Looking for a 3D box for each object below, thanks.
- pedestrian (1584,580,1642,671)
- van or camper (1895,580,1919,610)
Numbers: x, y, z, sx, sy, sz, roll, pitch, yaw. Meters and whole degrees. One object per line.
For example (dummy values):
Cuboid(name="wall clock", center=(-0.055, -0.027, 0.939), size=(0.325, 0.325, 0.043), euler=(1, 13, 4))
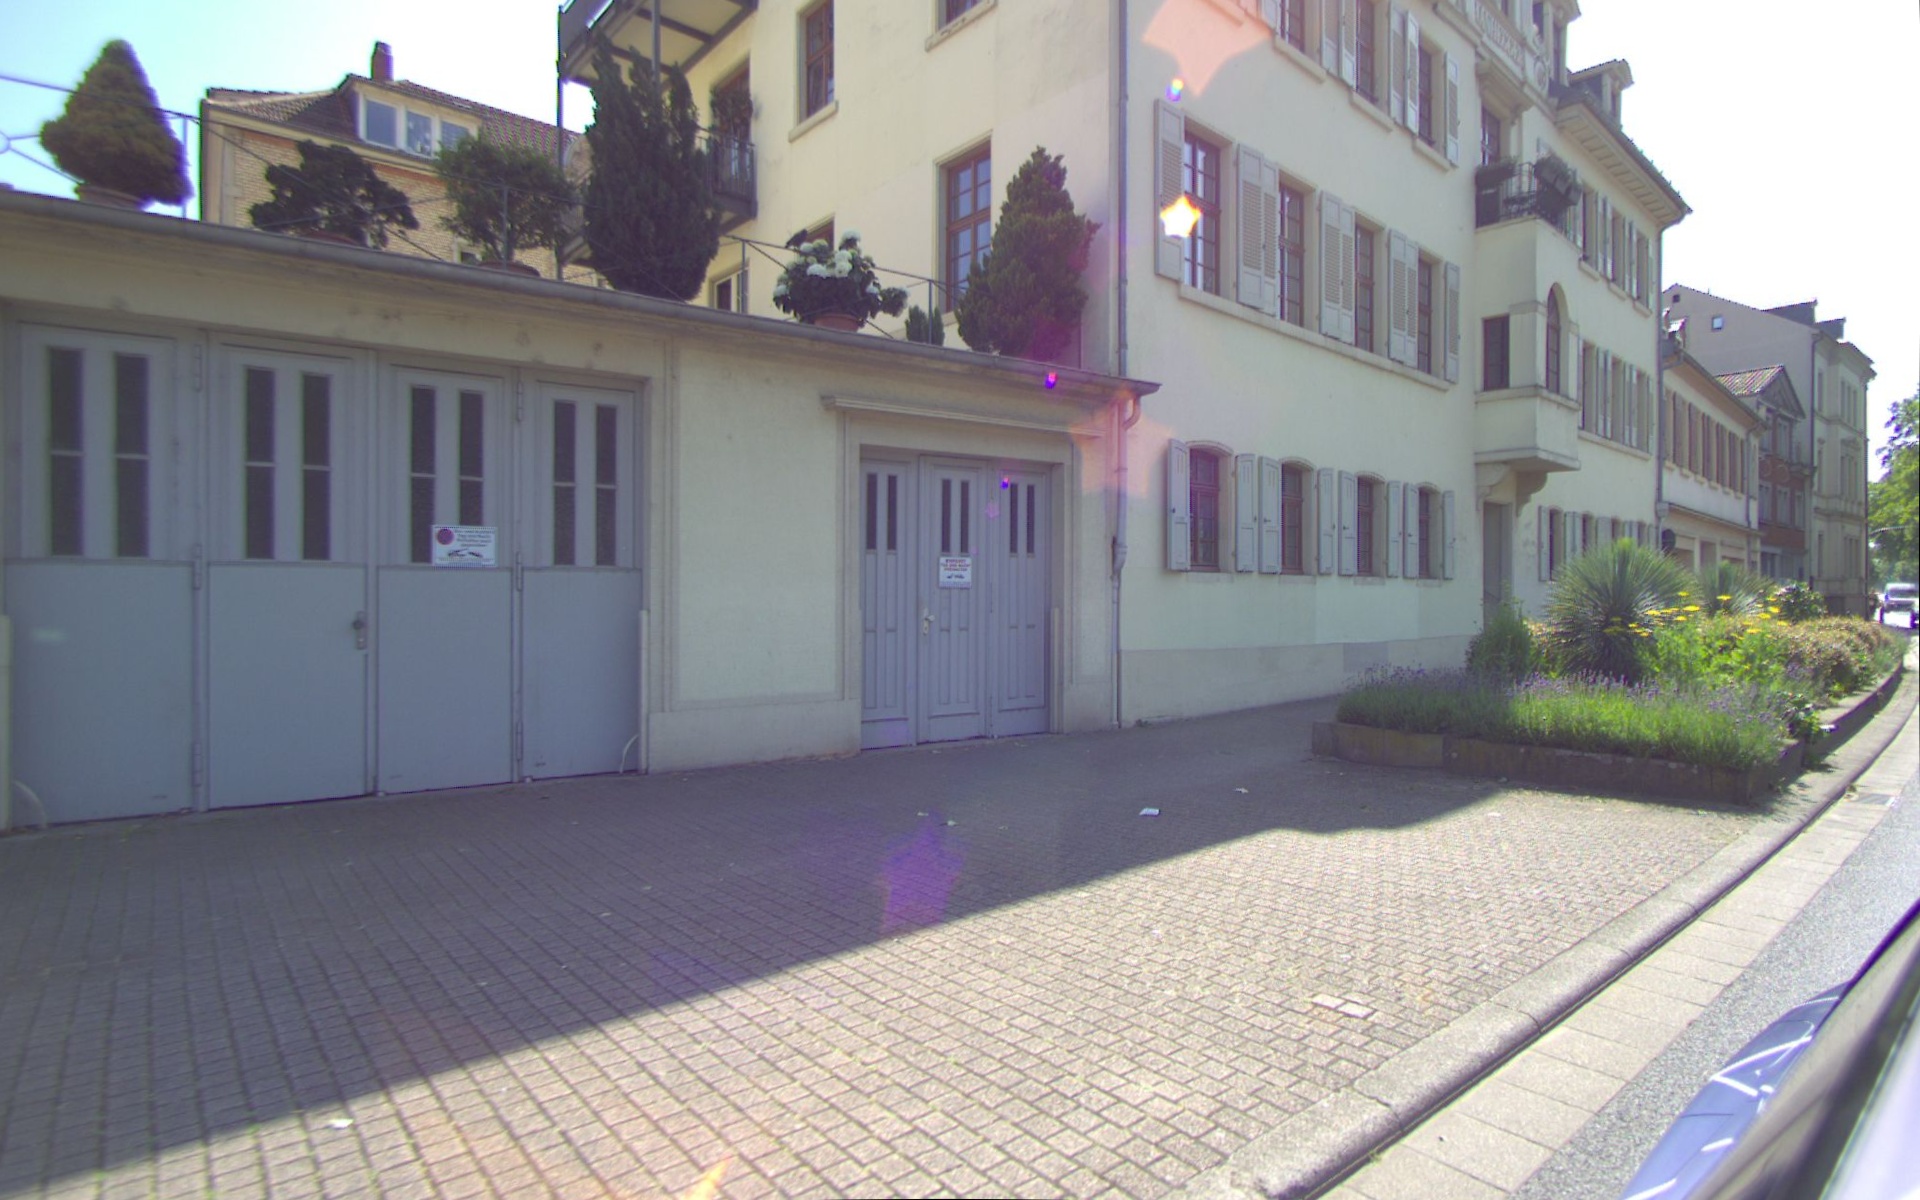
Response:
Cuboid(name="pedestrian", center=(12.886, 0.485, 19.964), size=(0.684, 1.734, 0.762), euler=(0, 3, -44))
Cuboid(name="van or camper", center=(77.702, -0.427, 82.220), size=(2.429, 2.313, 6.111), euler=(0, 0, 41))
